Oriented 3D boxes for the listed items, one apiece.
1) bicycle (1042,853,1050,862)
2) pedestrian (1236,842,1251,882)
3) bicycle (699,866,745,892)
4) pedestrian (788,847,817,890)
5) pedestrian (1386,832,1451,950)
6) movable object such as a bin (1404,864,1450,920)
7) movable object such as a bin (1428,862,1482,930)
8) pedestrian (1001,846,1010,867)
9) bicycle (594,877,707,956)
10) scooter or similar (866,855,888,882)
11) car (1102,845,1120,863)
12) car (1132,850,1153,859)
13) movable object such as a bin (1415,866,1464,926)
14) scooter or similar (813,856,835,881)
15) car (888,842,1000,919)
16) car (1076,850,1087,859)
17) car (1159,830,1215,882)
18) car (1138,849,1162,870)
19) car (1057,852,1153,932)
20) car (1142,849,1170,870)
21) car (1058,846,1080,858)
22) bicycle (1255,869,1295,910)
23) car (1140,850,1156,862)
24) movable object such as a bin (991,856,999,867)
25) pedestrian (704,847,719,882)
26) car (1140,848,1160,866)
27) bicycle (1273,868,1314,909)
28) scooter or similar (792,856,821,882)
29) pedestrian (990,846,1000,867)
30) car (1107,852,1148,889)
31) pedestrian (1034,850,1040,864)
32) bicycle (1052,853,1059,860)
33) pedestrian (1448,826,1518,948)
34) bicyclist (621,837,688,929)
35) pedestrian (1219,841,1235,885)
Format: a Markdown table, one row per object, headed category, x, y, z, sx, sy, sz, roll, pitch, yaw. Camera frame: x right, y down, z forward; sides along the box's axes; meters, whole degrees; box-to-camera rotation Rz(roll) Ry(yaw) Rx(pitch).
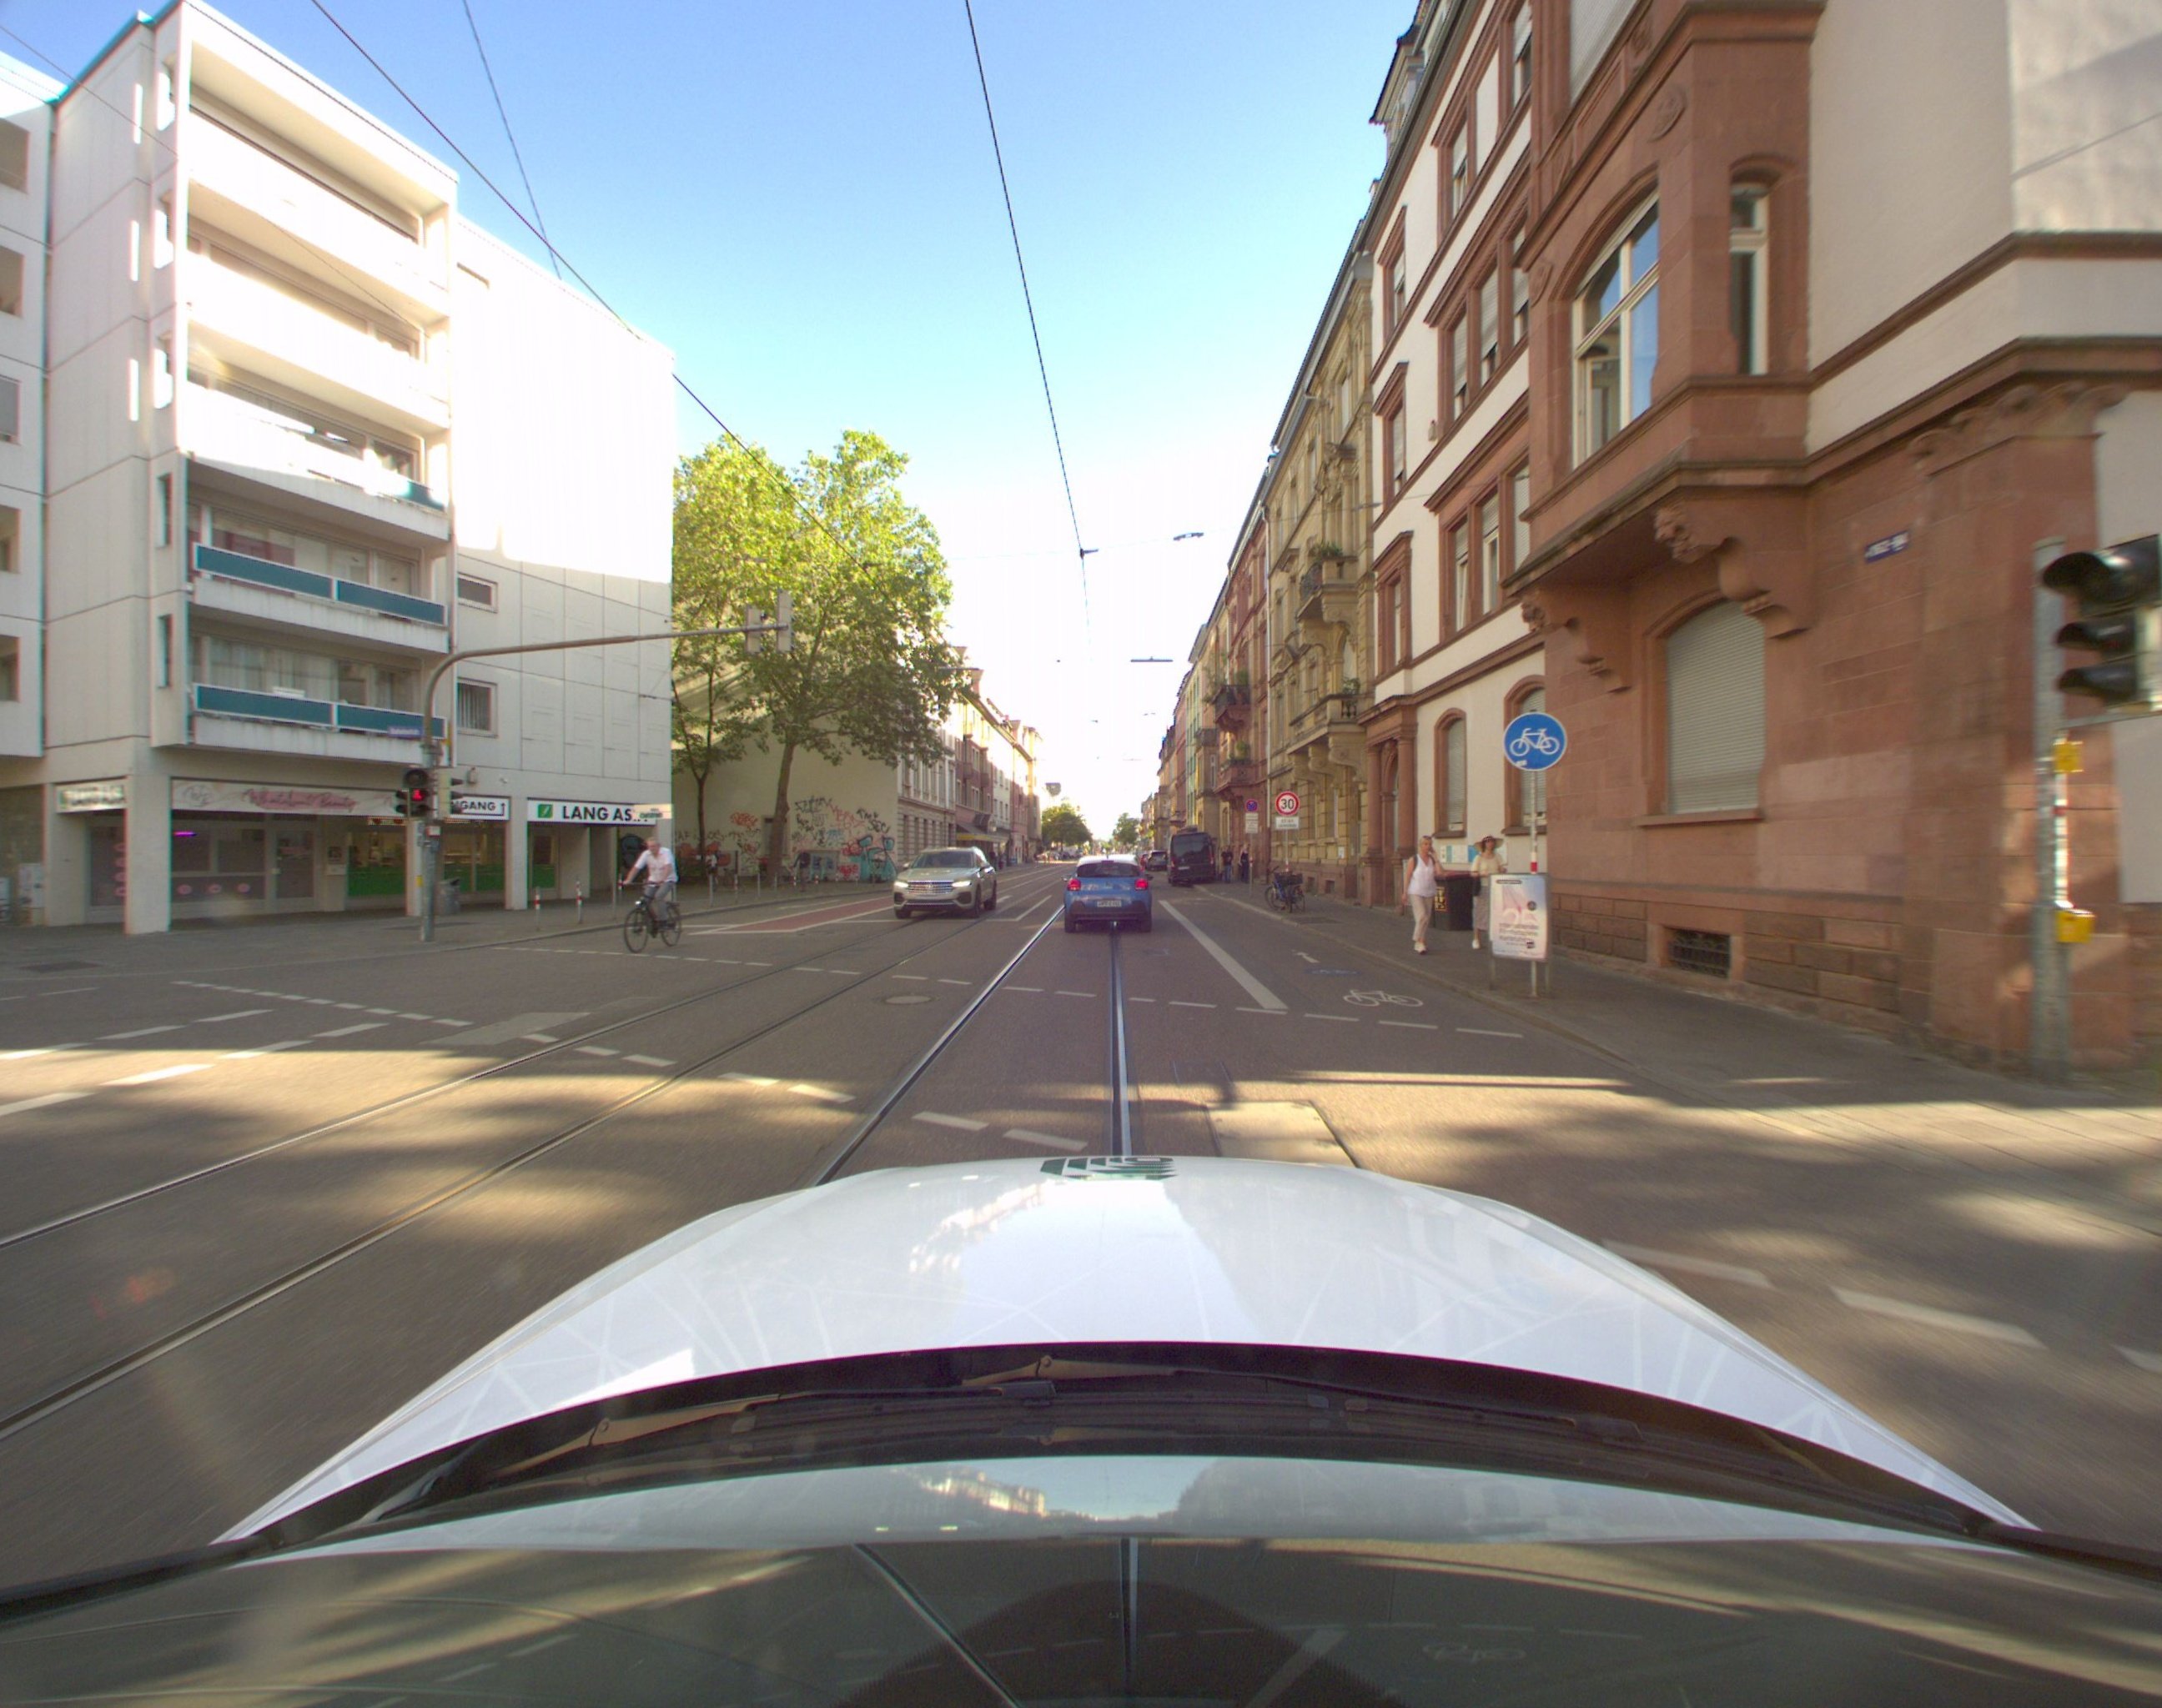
| category | x | y | z | sx | sy | sz | roll | pitch | yaw |
| --- | --- | --- | --- | --- | --- | --- | --- | --- | --- |
| bicycle | -5.725 | 0.545 | 132.821 | 1.118 | 1.319 | 3.639 | -1 | 0 | -3 |
| pedestrian | 7.370 | 0.361 | 36.958 | 0.551 | 1.782 | 0.606 | 0 | 0 | 0 |
| bicycle | -14.736 | 1.026 | 33.423 | 1.898 | 1.034 | 0.669 | -1 | 0 | 28 |
| pedestrian | -11.513 | 0.602 | 33.712 | 0.678 | 1.765 | 1.029 | 0 | 0 | 12 |
| pedestrian | 5.007 | 0.527 | 12.107 | 0.626 | 1.701 | 0.681 | 0 | 0 | -7 |
| movable object such as a bin | 6.850 | 0.744 | 16.138 | 0.663 | 1.077 | 0.571 | -1 | 0 | 0 |
| movable object such as a bin | 6.843 | 0.756 | 14.905 | 0.663 | 1.153 | 0.594 | -3 | 0 | 0 |
| pedestrian | -6.355 | 0.223 | 68.393 | 0.709 | 1.764 | 0.653 | -1 | 0 | -7 |
| bicycle | -7.089 | 0.988 | 13.541 | 0.690 | 1.120 | 2.084 | -2 | 0 | 1 |
| scooter or similar | -10.309 | 0.736 | 41.155 | 0.785 | 1.271 | 1.075 | 2 | 2 | 1 |
| car | 3.325 | -0.009 | 91.362 | 1.986 | 2.013 | 4.001 | -1 | 0 | 1 |
| car | 11.885 | 0.119 | 157.688 | 3.824 | 1.618 | 1.791 | -1 | 0 | -1 |
| movable object such as a bin | 6.805 | 0.788 | 15.495 | 0.663 | 1.077 | 0.571 | -1 | 0 | 0 |
| scooter or similar | -12.824 | 0.711 | 40.701 | 0.937 | 1.222 | 0.765 | 0 | 0 | -10 |
| car | -3.317 | 0.591 | 20.630 | 1.987 | 1.744 | 4.563 | 0 | 0 | 1 |
| car | 0.041 | 0.079 | 154.265 | 1.986 | 1.651 | 4.001 | -1 | 0 | 1 |
| car | 5.207 | 0.075 | 40.864 | 2.263 | 2.436 | 5.722 | 0 | 0 | 2 |
| car | 6.111 | 0.473 | 72.625 | 1.899 | 1.757 | 4.001 | -1 | 0 | 1 |
| car | 0.387 | 0.709 | 17.190 | 1.670 | 1.477 | 3.995 | 0 | 0 | -4 |
| car | 6.234 | 0.436 | 68.034 | 1.998 | 1.672 | 4.808 | -1 | 0 | 2 |
| car | -2.594 | -0.514 | 181.775 | 4.328 | 2.581 | 2.192 | -1 | 0 | -24 |
| bicycle | 4.850 | 0.868 | 20.469 | 0.430 | 0.947 | 1.760 | 0 | 0 | -5 |
| car | 9.575 | 0.227 | 116.850 | 1.998 | 1.672 | 4.393 | -2 | 0 | 2 |
| movable object such as a bin | -7.288 | 0.610 | 69.053 | 0.608 | 0.914 | 0.695 | -1 | 0 | 2 |
| pedestrian | -17.977 | 0.509 | 39.659 | 0.454 | 1.718 | 0.547 | -1 | 0 | 1 |
| car | 7.786 | 0.274 | 92.229 | 1.998 | 1.671 | 4.395 | -1 | 4 | 2 |
| bicycle | 5.321 | 0.839 | 20.505 | 0.430 | 0.947 | 1.760 | 0 | 0 | -5 |
| scooter or similar | -13.313 | 0.729 | 39.516 | 1.228 | 1.258 | 0.765 | 0 | 0 | -11 |
| pedestrian | -7.234 | 0.212 | 68.336 | 0.708 | 1.764 | 0.570 | -1 | 0 | 0 |
| car | 2.007 | 0.683 | 35.930 | 1.661 | 1.478 | 4.001 | -1 | 0 | 1 |
| pedestrian | -5.362 | 0.354 | 98.418 | 0.683 | 1.638 | 0.675 | -1 | 0 | 0 |
| bicycle | -4.207 | 0.415 | 133.031 | 1.118 | 1.146 | 3.639 | -1 | 0 | -3 |
| pedestrian | 6.014 | 0.483 | 12.214 | 0.703 | 1.782 | 0.673 | 0 | 0 | 0 |
| bicyclist | -7.090 | 0.463 | 13.567 | 0.680 | 1.483 | 0.779 | 0 | 0 | 1 |
| pedestrian | 6.721 | 0.395 | 37.491 | 0.583 | 2.013 | 0.823 | 1 | 1 | 1 |
